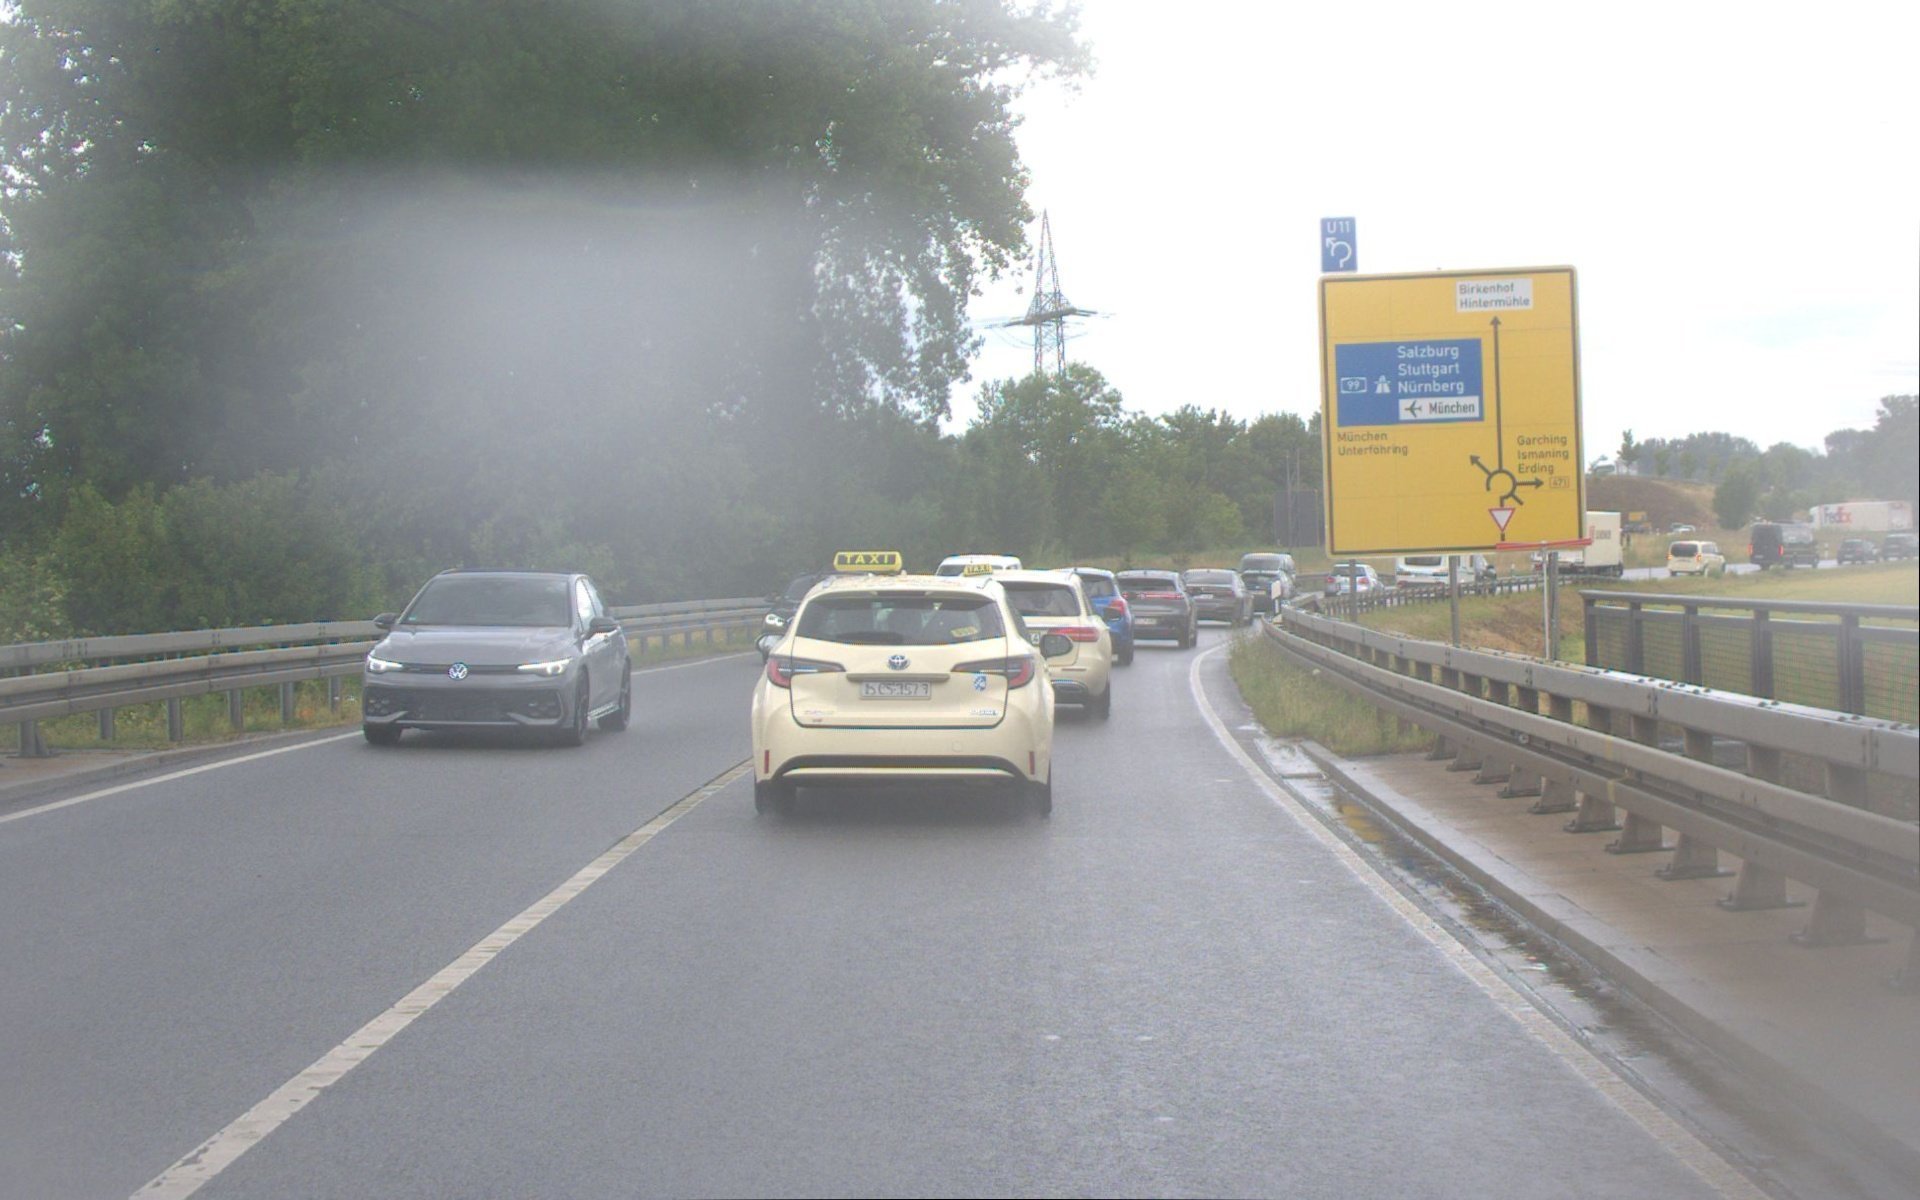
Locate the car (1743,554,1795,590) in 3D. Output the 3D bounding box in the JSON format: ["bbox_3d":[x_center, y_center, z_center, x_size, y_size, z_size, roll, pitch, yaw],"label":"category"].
[{"bbox_3d":[46.871,-1.621,199.148,1.996,2.007,3.994,1,0,27],"label":"car"}]

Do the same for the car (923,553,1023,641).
[{"bbox_3d":[0.317,-0.092,76.570,1.862,1.885,4.489,0,1,5],"label":"car"}]

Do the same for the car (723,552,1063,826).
[{"bbox_3d":[-0.398,0.492,21.490,1.906,1.532,4.161,0,0,-1],"label":"car"}]

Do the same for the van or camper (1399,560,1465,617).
[{"bbox_3d":[18.990,-0.435,138.207,1.995,2.246,3.996,1,0,17],"label":"van or camper"}]

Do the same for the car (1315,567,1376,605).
[{"bbox_3d":[13.800,-0.502,122.917,1.484,1.304,3.473,0,0,18],"label":"car"}]

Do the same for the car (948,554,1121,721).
[{"bbox_3d":[0.789,0.344,34.280,1.578,1.567,3.681,0,0,4],"label":"car"}]

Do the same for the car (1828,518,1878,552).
[{"bbox_3d":[54.848,-3.963,211.067,2.229,2.007,3.994,1,0,26],"label":"car"}]

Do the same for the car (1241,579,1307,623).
[{"bbox_3d":[9.607,0.028,105.143,1.483,1.304,3.474,0,0,14],"label":"car"}]

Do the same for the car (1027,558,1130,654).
[{"bbox_3d":[1.818,0.087,53.583,1.506,1.432,3.355,1,0,1],"label":"car"}]

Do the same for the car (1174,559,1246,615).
[{"bbox_3d":[6.557,-0.325,89.831,1.661,1.404,3.903,0,-1,7],"label":"car"}]

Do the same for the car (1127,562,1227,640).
[{"bbox_3d":[4.244,0.012,66.866,1.666,1.459,3.475,0,0,8],"label":"car"}]

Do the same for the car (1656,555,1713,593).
[{"bbox_3d":[39.236,-1.416,186.128,2.169,2.007,3.994,1,0,26],"label":"car"}]

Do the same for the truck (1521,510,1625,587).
[{"bbox_3d":[29.588,-2.466,165.629,3.144,3.550,7.511,1,0,24],"label":"truck"}]

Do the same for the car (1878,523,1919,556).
[{"bbox_3d":[59.699,-3.826,218.201,1.996,2.007,3.994,1,0,26],"label":"car"}]

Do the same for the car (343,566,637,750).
[{"bbox_3d":[-3.930,0.453,29.373,1.835,1.438,4.103,1,0,2],"label":"car"}]

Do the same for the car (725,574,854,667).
[{"bbox_3d":[-2.663,0.304,54.382,1.696,1.395,4.331,0,0,2],"label":"car"}]
